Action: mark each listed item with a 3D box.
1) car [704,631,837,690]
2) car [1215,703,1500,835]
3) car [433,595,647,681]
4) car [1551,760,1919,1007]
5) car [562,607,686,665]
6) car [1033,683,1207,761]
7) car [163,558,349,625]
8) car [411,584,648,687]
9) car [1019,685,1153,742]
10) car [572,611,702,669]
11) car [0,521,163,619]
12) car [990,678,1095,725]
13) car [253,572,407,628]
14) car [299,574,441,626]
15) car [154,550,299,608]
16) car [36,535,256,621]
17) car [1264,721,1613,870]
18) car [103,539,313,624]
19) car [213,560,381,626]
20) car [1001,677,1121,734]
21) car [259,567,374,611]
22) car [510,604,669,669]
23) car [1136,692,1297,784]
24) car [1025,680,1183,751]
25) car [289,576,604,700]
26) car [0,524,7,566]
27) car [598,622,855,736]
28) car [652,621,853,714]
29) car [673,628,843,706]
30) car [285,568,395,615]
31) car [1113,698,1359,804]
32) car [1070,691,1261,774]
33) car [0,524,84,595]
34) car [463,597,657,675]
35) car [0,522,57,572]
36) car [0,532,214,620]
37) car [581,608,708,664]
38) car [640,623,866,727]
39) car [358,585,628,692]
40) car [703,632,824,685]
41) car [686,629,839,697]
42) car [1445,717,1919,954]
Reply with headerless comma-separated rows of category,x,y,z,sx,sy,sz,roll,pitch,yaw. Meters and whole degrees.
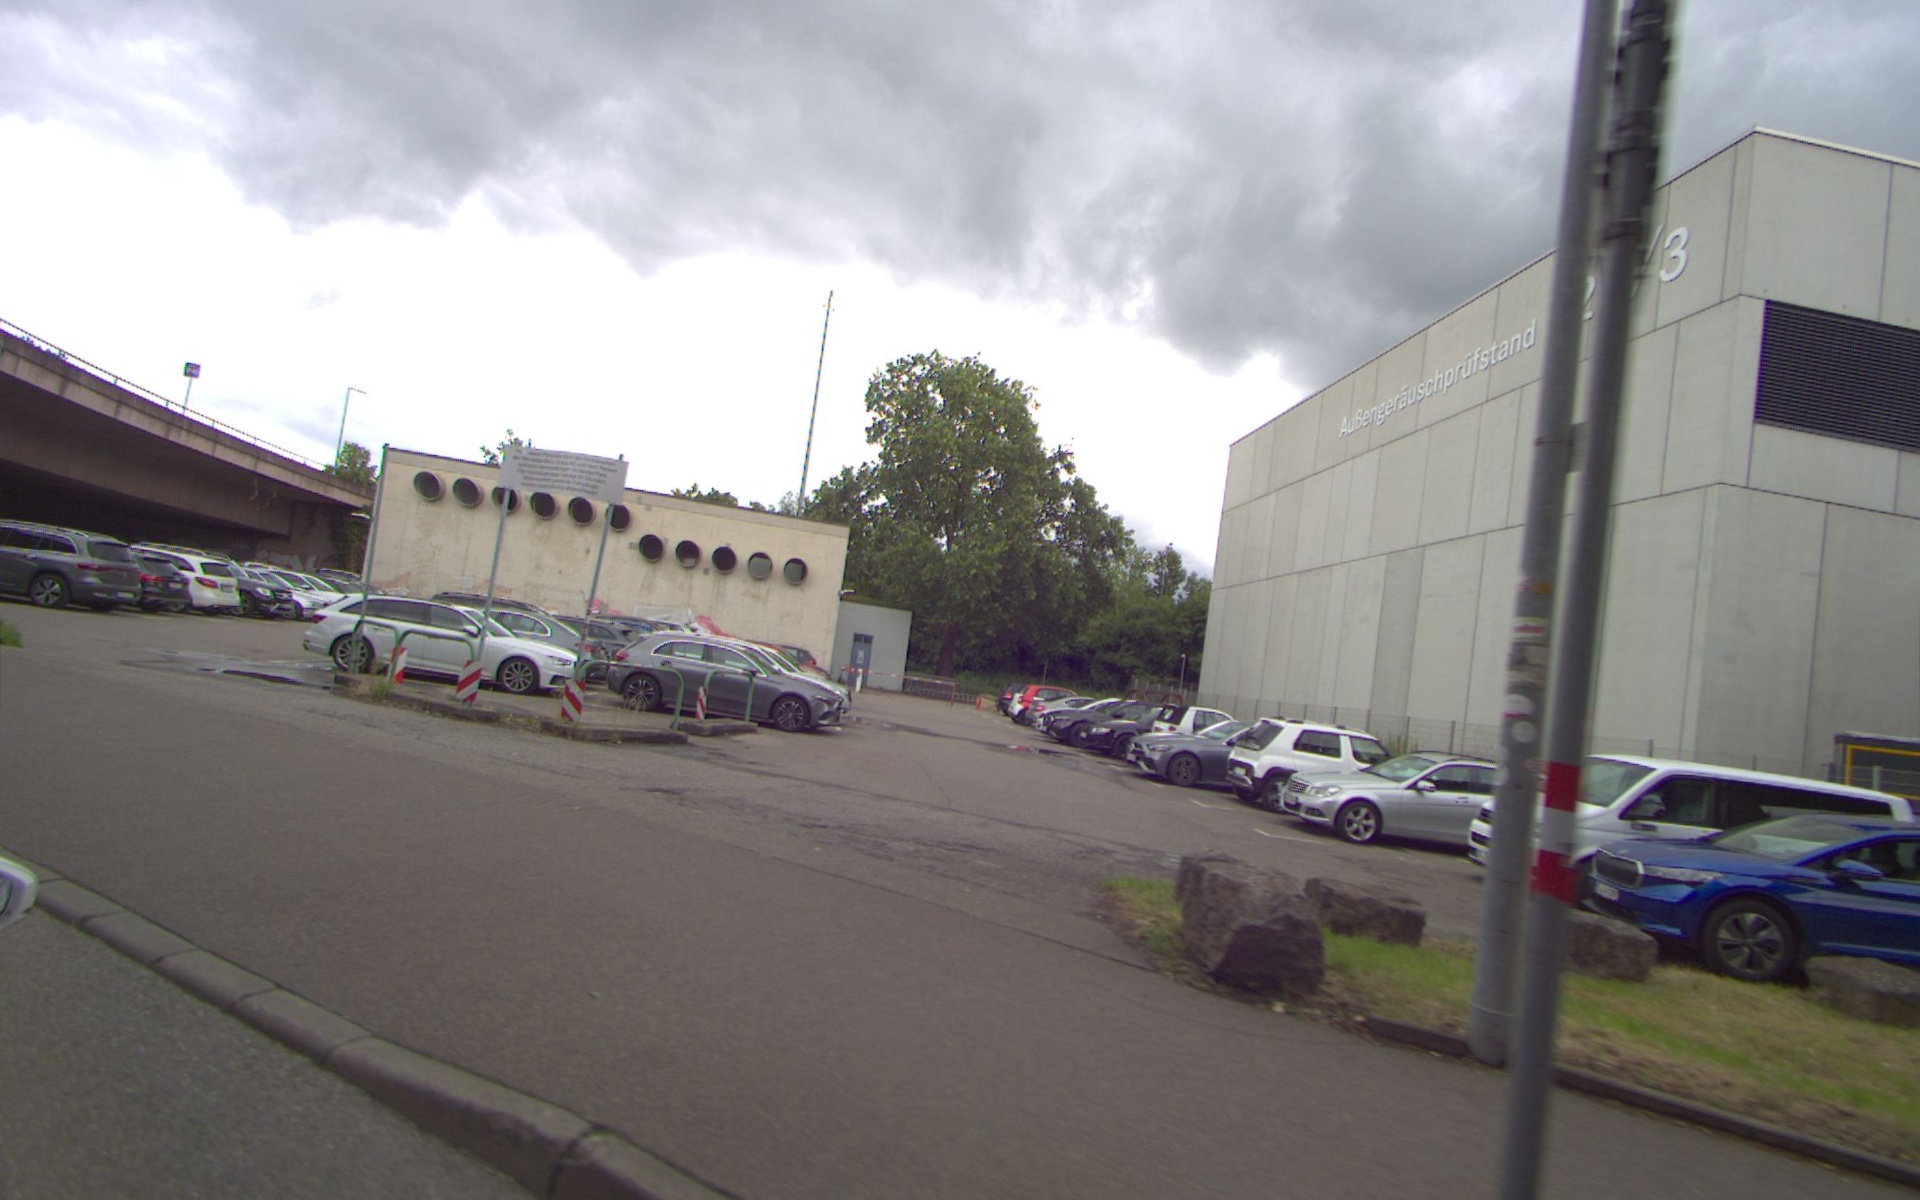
car,-6.705,2.168,35.943,4.364,1.440,1.840,8,-3,-5
car,7.034,2.988,18.029,4.285,1.605,1.776,8,-3,-6
car,-10.531,0.991,25.547,4.542,1.459,1.858,9,-3,-8
car,8.589,2.783,9.624,4.596,1.652,1.779,7,-3,11
car,-12.402,1.344,37.340,3.909,1.549,1.769,9,-3,-8
car,4.399,3.353,27.860,4.290,1.472,1.774,9,-3,-11
car,-21.745,-0.220,31.230,4.332,1.378,1.631,8,-3,-8
car,-9.829,0.851,23.325,4.542,1.645,1.858,9,-3,-8
car,4.313,3.888,34.597,4.130,1.313,1.695,9,-3,-11
car,-11.223,1.410,35.159,3.909,1.407,1.769,9,-3,-8
car,-20.250,-0.769,21.638,4.395,1.693,1.745,8,-3,-8
car,3.425,4.229,42.010,3.981,1.352,1.496,9,-3,-11
car,-22.385,0.018,35.911,4.189,1.319,1.709,8,-3,-8
car,-22.363,0.036,38.267,4.189,1.319,1.709,8,-3,-8
car,-29.259,-0.815,40.260,4.121,1.610,1.838,8,-3,-8
car,-21.354,-0.529,26.546,4.019,1.573,1.756,8,-3,-8
car,7.297,2.975,15.617,4.473,1.472,1.777,8,-3,-3
car,-21.547,-0.483,28.998,4.357,1.709,1.756,8,-3,-8
car,-22.042,-0.202,33.588,4.189,1.525,1.709,8,-3,-8
car,3.697,3.870,36.949,3.999,1.476,1.496,8,-3,-11
car,-30.844,-0.506,48.306,4.121,1.424,1.838,8,-3,-8
car,-11.821,1.191,32.342,4.361,1.407,1.785,9,-3,-8
car,5.800,3.114,22.966,3.043,1.561,1.624,8,-3,-5
car,4.323,3.471,30.446,4.290,1.472,1.774,9,-3,-11
car,-9.207,0.716,18.384,4.605,1.491,1.859,8,-3,-5
car,-25.402,-1.399,23.471,4.121,1.610,1.838,8,-3,-8
car,-4.251,1.480,18.939,4.364,1.440,1.840,8,-3,-5
car,-4.892,1.623,24.285,4.422,1.529,1.840,8,-3,-5
car,-5.669,1.908,28.715,4.422,1.529,1.840,8,-3,-5
car,-31.149,-0.398,50.639,4.121,1.706,1.838,8,-3,-8
car,5.447,2.982,20.135,4.284,1.399,1.776,8,-3,-5
car,5.125,3.316,25.375,4.284,1.399,1.776,8,-3,-5
car,-25.624,-1.277,25.886,4.121,1.610,1.838,8,-3,-8
car,-10.983,1.019,27.940,4.542,1.459,1.858,9,-3,-8
car,-39.249,-2.409,39.583,5.020,1.695,2.090,8,-3,-8
car,-20.851,-0.580,24.058,4.384,1.464,1.756,8,-3,-8
car,-12.477,1.443,39.973,4.413,1.549,1.769,9,-3,-8
car,-4.316,1.597,21.638,4.422,1.529,1.840,8,-3,-5
car,-9.581,0.826,21.015,4.607,1.491,1.858,9,-3,-8
car,-7.661,2.305,39.637,4.364,1.440,1.840,8,-3,-5
car,-6.053,1.958,31.251,4.364,1.440,1.840,8,-3,-5
car,8.855,2.802,12.463,4.594,1.978,1.896,8,-2,1
